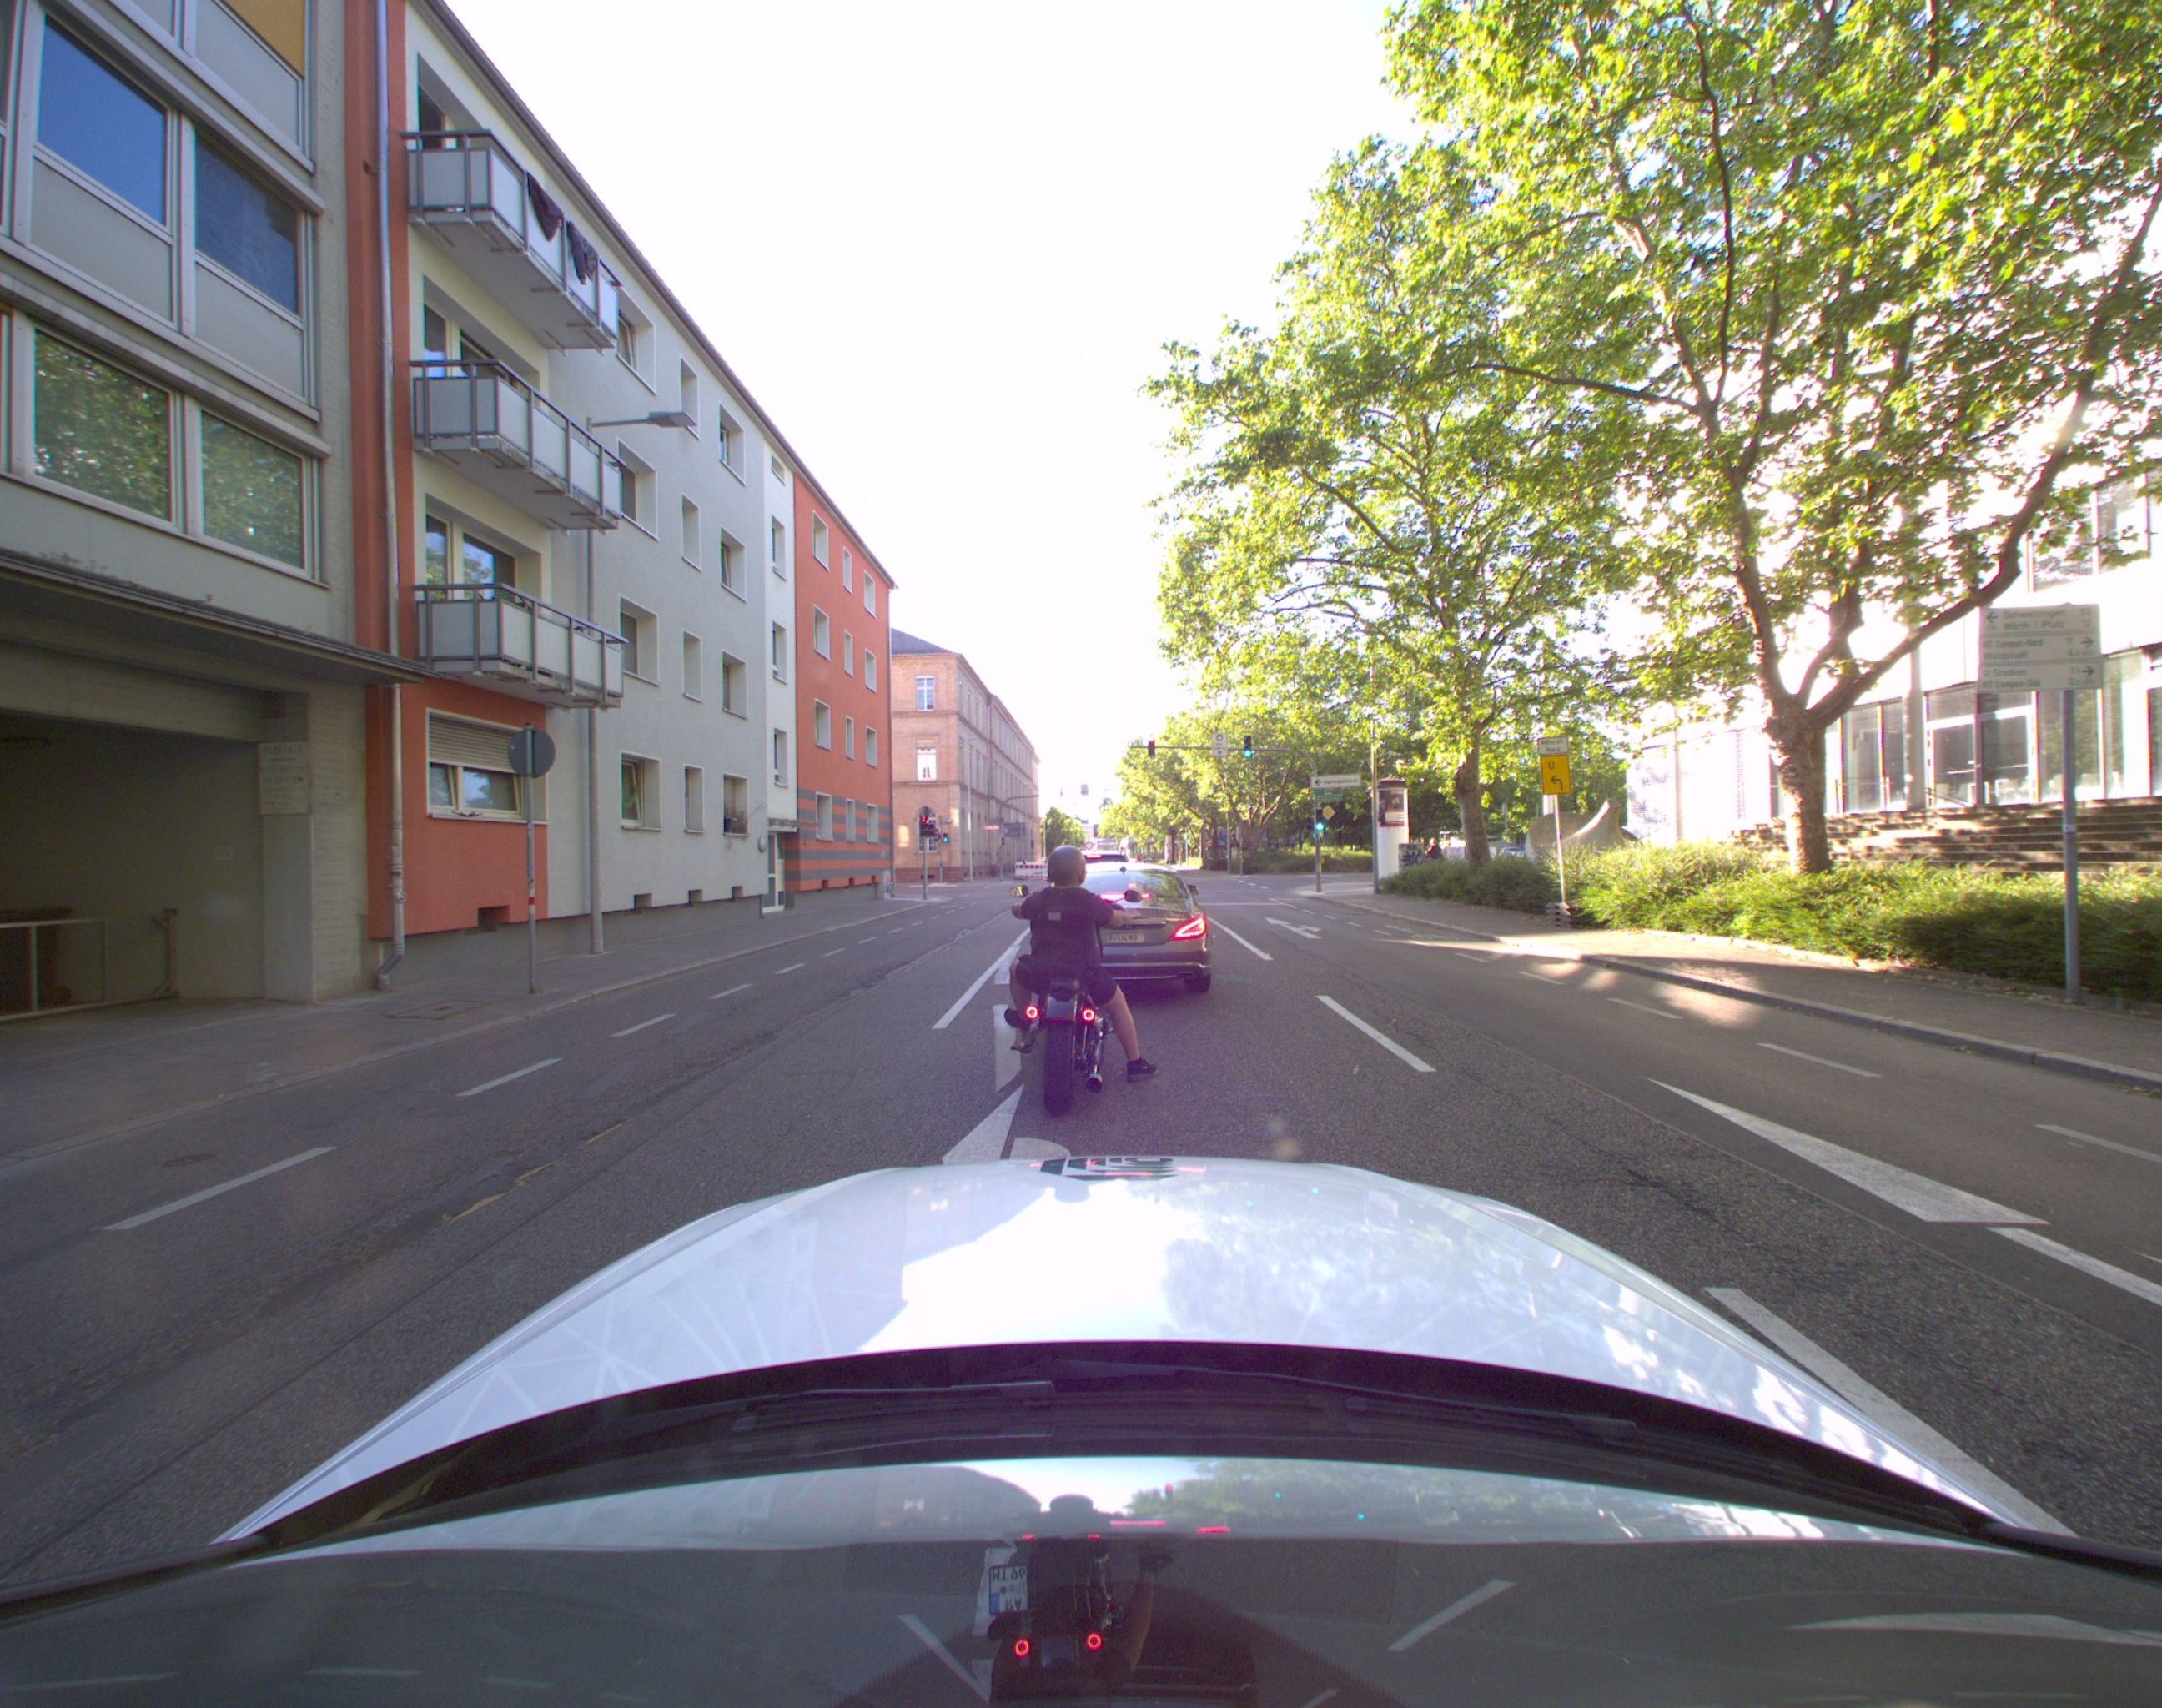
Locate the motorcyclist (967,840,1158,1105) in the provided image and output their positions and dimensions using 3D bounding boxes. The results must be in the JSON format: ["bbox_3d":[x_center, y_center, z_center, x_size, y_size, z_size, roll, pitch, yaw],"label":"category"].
[{"bbox_3d":[-0.068,0.706,5.407,1.093,1.566,1.074,-1,-1,8],"label":"motorcyclist"}]

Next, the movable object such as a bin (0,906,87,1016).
[{"bbox_3d":[-11.283,1.119,8.650,0.533,1.079,0.723,0,-1,3],"label":"movable object such as a bin"}]

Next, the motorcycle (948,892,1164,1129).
[{"bbox_3d":[-0.040,0.914,5.626,1.111,1.207,2.217,-1,-1,8],"label":"motorcycle"}]

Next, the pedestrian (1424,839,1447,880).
[{"bbox_3d":[15.263,0.237,35.054,0.731,1.778,0.731,-1,-1,10],"label":"pedestrian"}]

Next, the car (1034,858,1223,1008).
[{"bbox_3d":[0.522,0.781,9.783,1.815,1.437,3.807,0,-1,2],"label":"car"}]

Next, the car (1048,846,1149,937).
[{"bbox_3d":[0.382,0.713,17.071,1.856,1.678,4.001,0,-1,2],"label":"car"}]
